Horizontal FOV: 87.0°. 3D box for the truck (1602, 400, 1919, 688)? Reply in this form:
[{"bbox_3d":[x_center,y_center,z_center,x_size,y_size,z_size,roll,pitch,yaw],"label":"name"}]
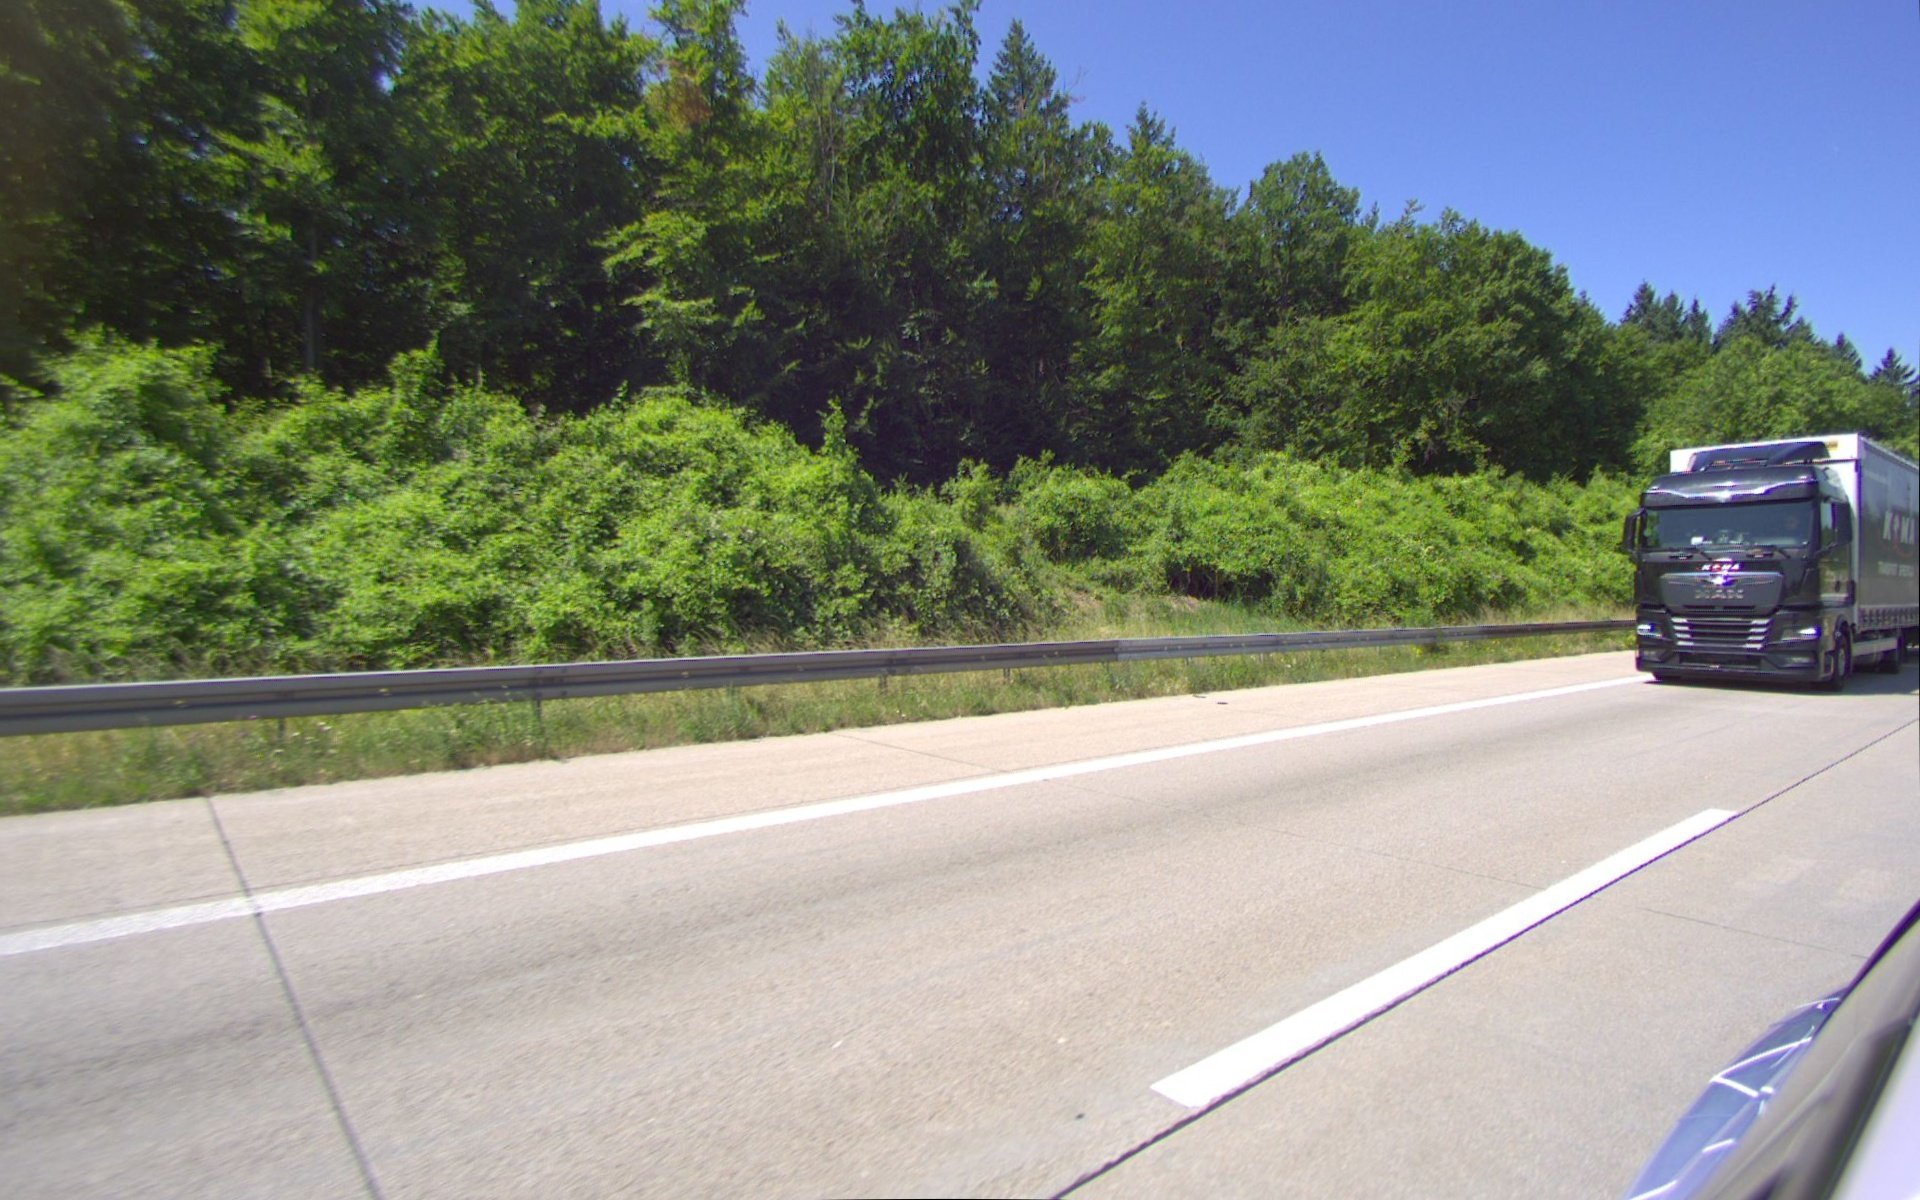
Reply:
[{"bbox_3d":[15.613,-0.828,18.863,10.419,4.068,3.166,0,0,-40],"label":"truck"}]

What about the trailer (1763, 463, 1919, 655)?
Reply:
[{"bbox_3d":[23.039,-0.894,25.069,8.925,4.068,3.141,0,0,-40],"label":"trailer"}]
